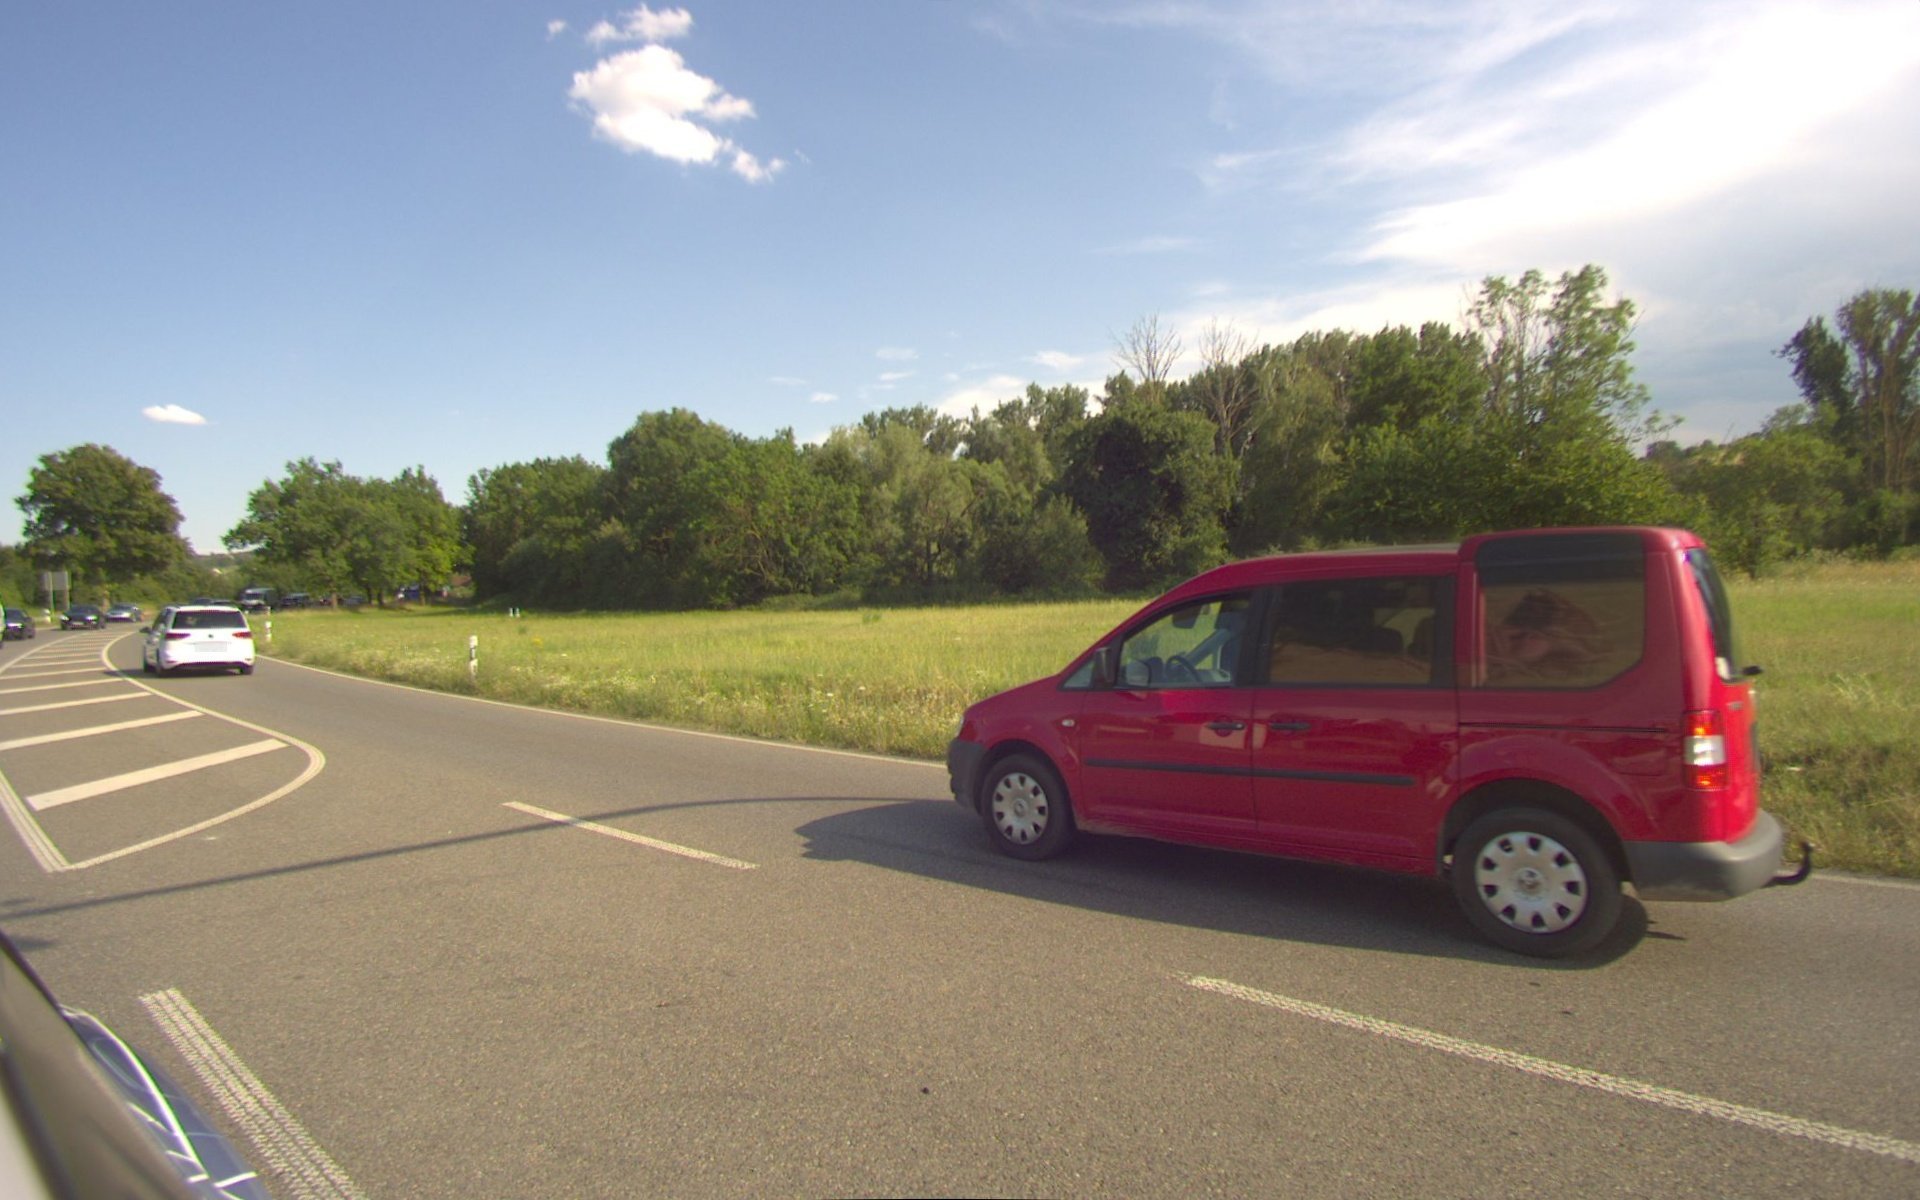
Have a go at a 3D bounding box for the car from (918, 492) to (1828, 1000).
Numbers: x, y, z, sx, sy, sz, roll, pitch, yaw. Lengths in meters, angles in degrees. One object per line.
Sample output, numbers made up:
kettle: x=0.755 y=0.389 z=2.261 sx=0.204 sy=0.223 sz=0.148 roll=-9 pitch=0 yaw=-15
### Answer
car: x=1.982 y=0.578 z=5.695 sx=4.318 sy=1.789 sz=1.861 roll=-2 pitch=-2 yaw=40

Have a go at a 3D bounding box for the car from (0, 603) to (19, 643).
car: x=-43.595 y=1.021 z=45.496 sx=1.668 sy=1.741 sz=3.675 roll=1 pitch=-1 yaw=-40

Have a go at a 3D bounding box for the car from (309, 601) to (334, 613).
car: x=-89.720 y=0.957 z=142.243 sx=1.966 sy=1.563 sz=4.013 roll=-3 pitch=2 yaw=-18

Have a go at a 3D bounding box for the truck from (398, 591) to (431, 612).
truck: x=-89.318 y=0.292 z=165.866 sx=2.877 sy=3.237 sz=6.699 roll=-3 pitch=1 yaw=-12

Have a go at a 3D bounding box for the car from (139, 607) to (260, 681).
car: x=-18.160 y=1.024 z=24.095 sx=1.858 sy=1.598 sz=4.334 roll=1 pitch=-2 yaw=-43

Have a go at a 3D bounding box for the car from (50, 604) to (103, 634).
car: x=-52.564 y=1.106 z=60.265 sx=1.646 sy=1.741 sz=3.680 roll=0 pitch=0 yaw=-30

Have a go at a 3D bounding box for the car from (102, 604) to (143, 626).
car: x=-62.984 y=1.112 z=76.151 sx=1.607 sy=1.570 sz=3.428 roll=1 pitch=-1 yaw=-27

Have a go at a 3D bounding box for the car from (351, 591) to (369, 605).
car: x=-93.000 y=-0.336 z=156.874 sx=1.385 sy=2.028 sz=3.244 roll=-3 pitch=1 yaw=-15

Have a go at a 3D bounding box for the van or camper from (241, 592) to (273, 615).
van or camper: x=-81.541 y=0.419 z=117.403 sx=2.000 sy=2.494 sz=5.094 roll=-3 pitch=1 yaw=-24

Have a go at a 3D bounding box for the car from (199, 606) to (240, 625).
car: x=-61.458 y=1.282 z=84.036 sx=1.900 sy=1.598 sz=4.087 roll=1 pitch=-1 yaw=-24

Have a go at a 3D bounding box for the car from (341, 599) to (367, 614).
car: x=-84.064 y=0.911 z=140.405 sx=1.967 sy=1.871 sz=4.011 roll=-3 pitch=2 yaw=-13

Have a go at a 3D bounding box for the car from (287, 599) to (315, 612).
car: x=-85.624 y=0.682 z=131.549 sx=1.966 sy=1.563 sz=4.013 roll=-3 pitch=2 yaw=-18

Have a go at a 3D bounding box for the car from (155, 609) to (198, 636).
car: x=-45.007 y=1.261 z=58.178 sx=1.722 sy=1.478 sz=3.488 roll=1 pitch=-1 yaw=-34

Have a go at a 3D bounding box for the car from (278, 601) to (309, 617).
car: x=-76.315 y=1.012 z=115.892 sx=1.966 sy=1.563 sz=4.013 roll=-3 pitch=2 yaw=-19
